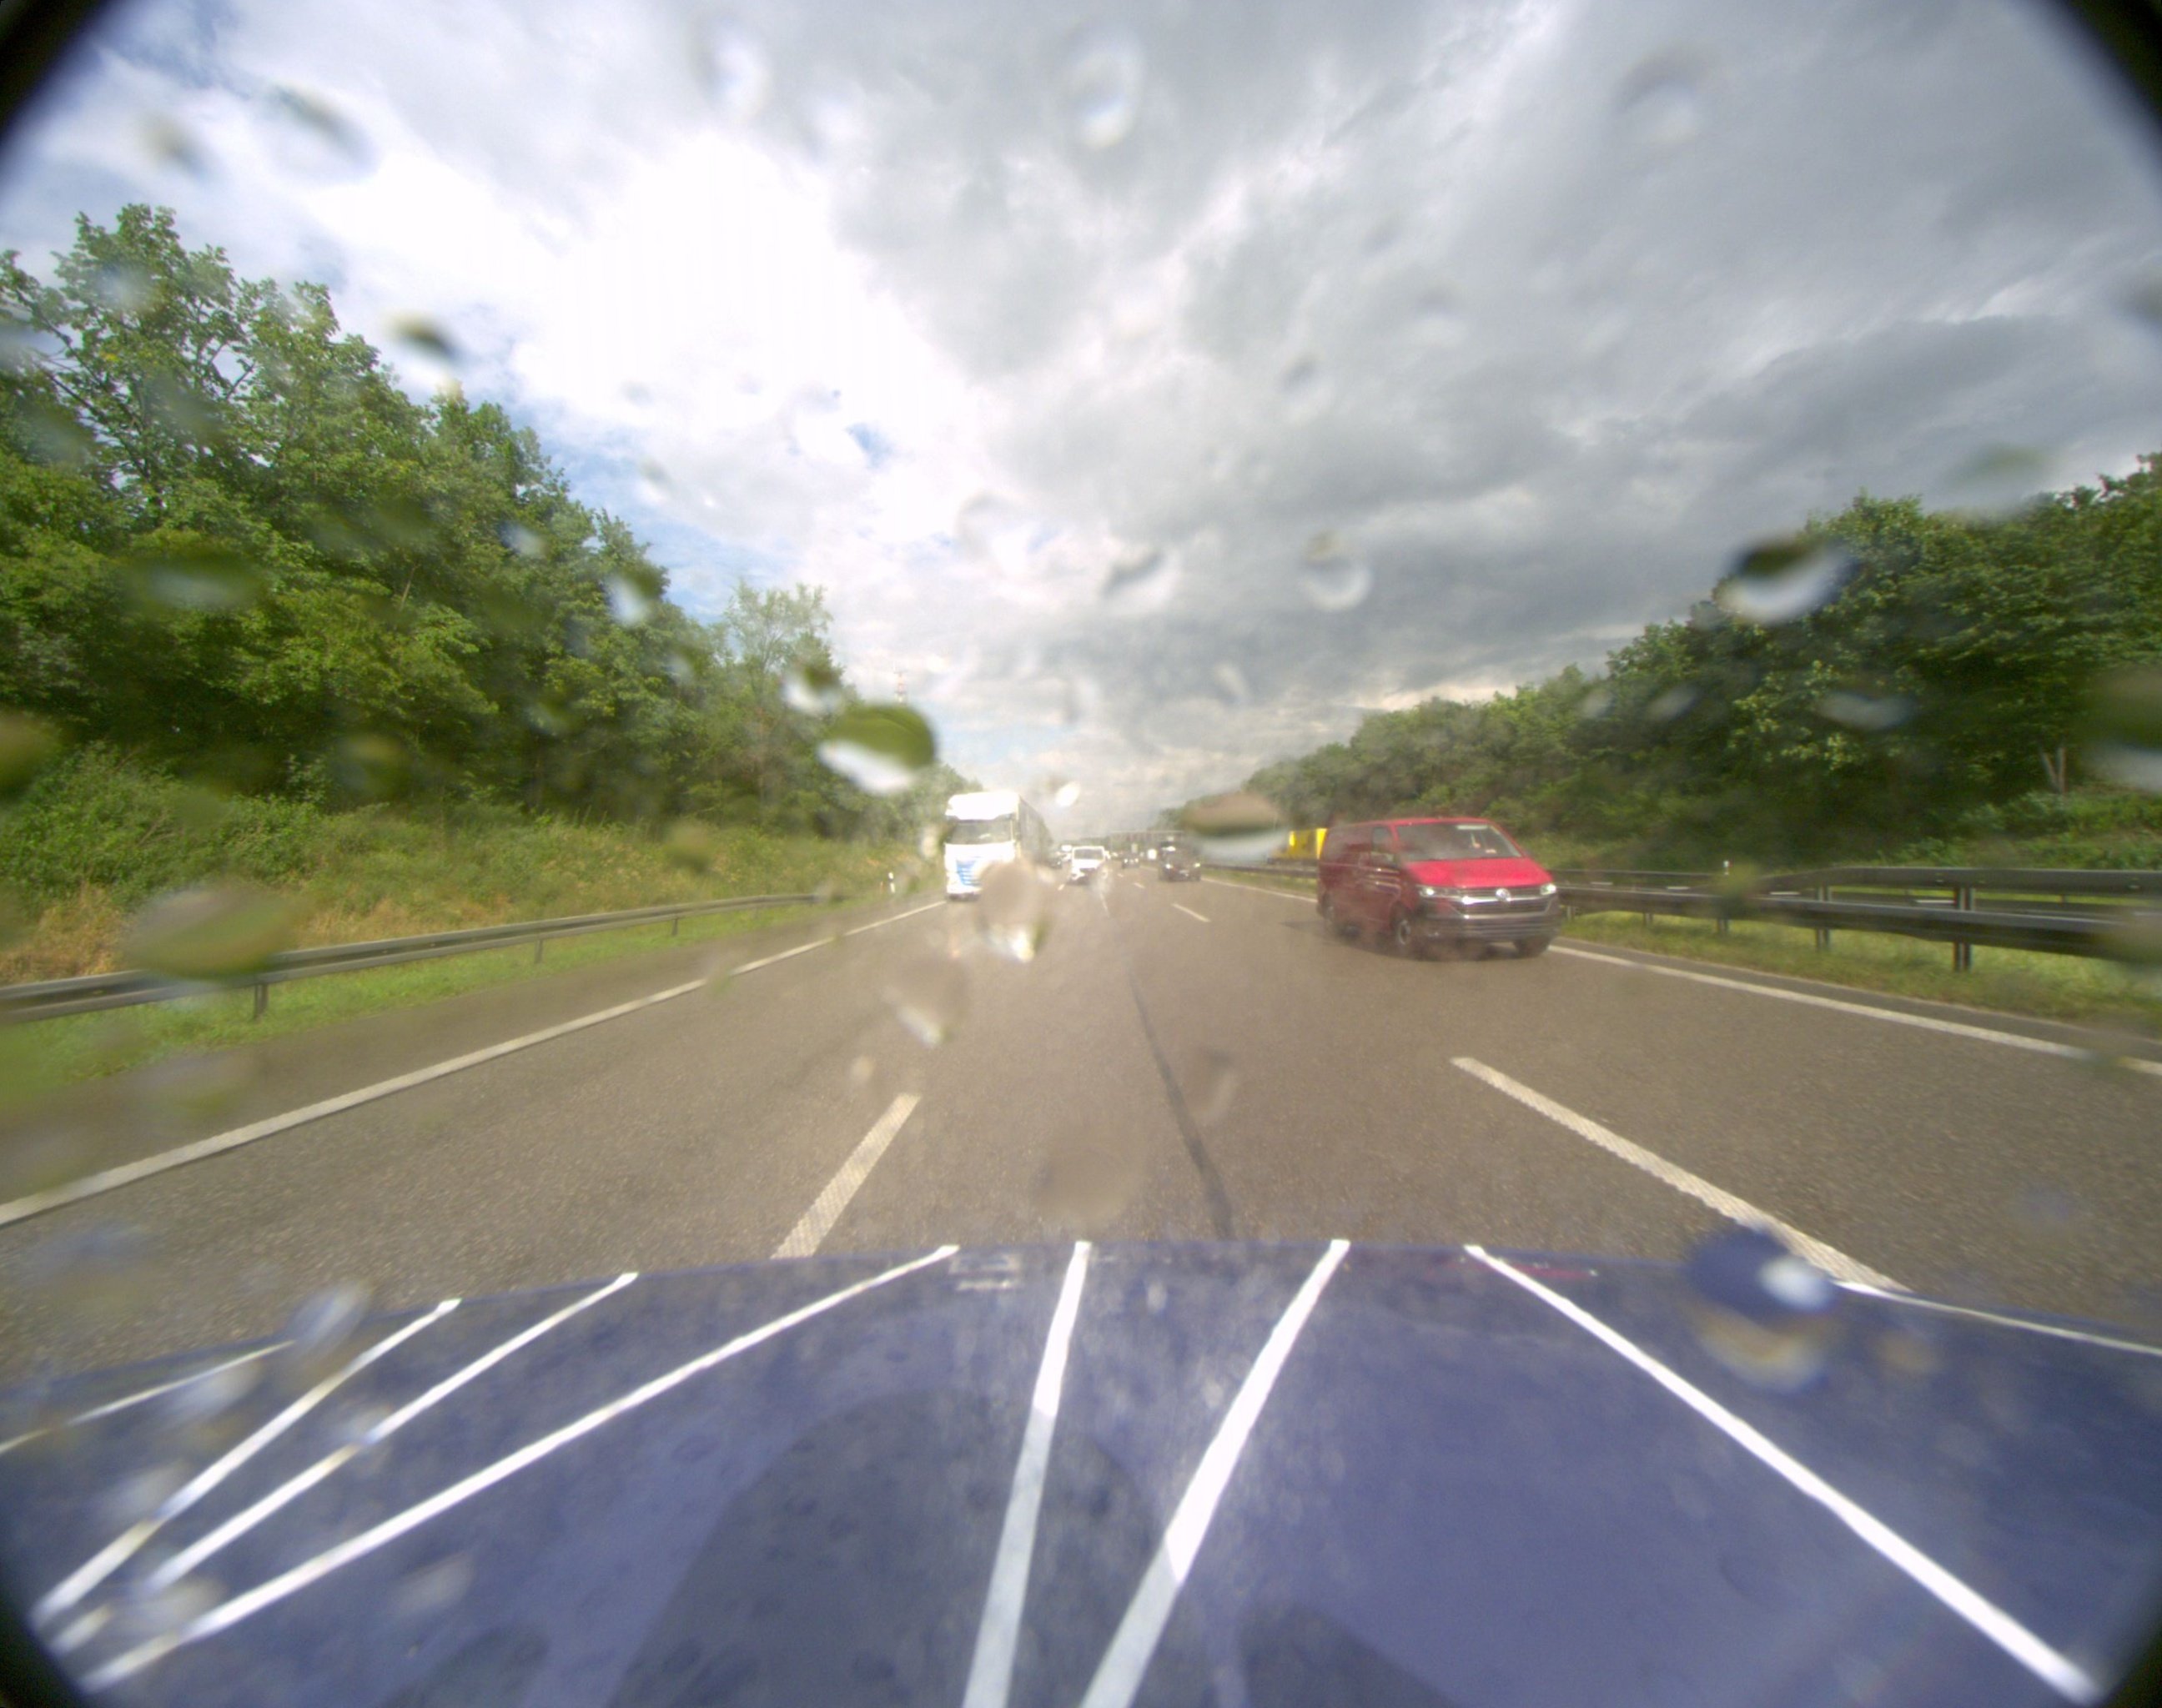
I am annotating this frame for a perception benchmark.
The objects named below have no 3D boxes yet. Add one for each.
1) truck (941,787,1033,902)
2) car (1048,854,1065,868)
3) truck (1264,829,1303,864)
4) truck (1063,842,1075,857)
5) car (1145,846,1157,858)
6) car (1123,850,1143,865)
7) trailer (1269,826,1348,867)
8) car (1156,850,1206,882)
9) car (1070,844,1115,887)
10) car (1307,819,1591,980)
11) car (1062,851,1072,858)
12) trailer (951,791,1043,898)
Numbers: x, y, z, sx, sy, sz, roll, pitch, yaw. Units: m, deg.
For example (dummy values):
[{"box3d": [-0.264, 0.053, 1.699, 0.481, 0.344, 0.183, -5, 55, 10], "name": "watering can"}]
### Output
[{"box3d": [-3.552, -0.358, 30.496, 2.613, 3.972, 7.289, -2, 1, 0], "name": "truck"}, {"box3d": [-2.834, 0.808, 89.970, 1.799, 1.410, 4.838, -2, 1, 0], "name": "car"}, {"box3d": [22.576, -0.803, 84.998, 2.730, 3.643, 5.330, -2, 1, -1], "name": "truck"}, {"box3d": [-3.117, -1.099, 194.744, 3.064, 3.827, 8.798, -1, 0, -1], "name": "truck"}, {"box3d": [17.628, -0.625, 192.314, 2.268, 2.853, 6.788, -2, 1, 0], "name": "car"}, {"box3d": [5.513, 0.366, 80.859, 1.799, 1.410, 4.838, -2, 1, 0], "name": "car"}, {"box3d": [22.658, -0.737, 77.071, 2.730, 3.623, 16.673, -2, 1, -1], "name": "trailer"}, {"box3d": [5.325, 0.593, 41.030, 2.009, 1.488, 4.838, -2, 1, 0], "name": "car"}, {"box3d": [0.555, 0.521, 39.663, 2.124, 1.988, 5.982, -2, 1, 0], "name": "car"}, {"box3d": [5.145, 0.527, 11.551, 1.927, 1.855, 4.838, -2, 1, 0], "name": "car"}, {"box3d": [-2.856, 0.100, 152.377, 1.799, 1.410, 4.838, -2, 1, 0], "name": "car"}, {"box3d": [-3.537, -0.407, 35.944, 2.641, 3.972, 14.062, -2, 1, 0], "name": "trailer"}]
